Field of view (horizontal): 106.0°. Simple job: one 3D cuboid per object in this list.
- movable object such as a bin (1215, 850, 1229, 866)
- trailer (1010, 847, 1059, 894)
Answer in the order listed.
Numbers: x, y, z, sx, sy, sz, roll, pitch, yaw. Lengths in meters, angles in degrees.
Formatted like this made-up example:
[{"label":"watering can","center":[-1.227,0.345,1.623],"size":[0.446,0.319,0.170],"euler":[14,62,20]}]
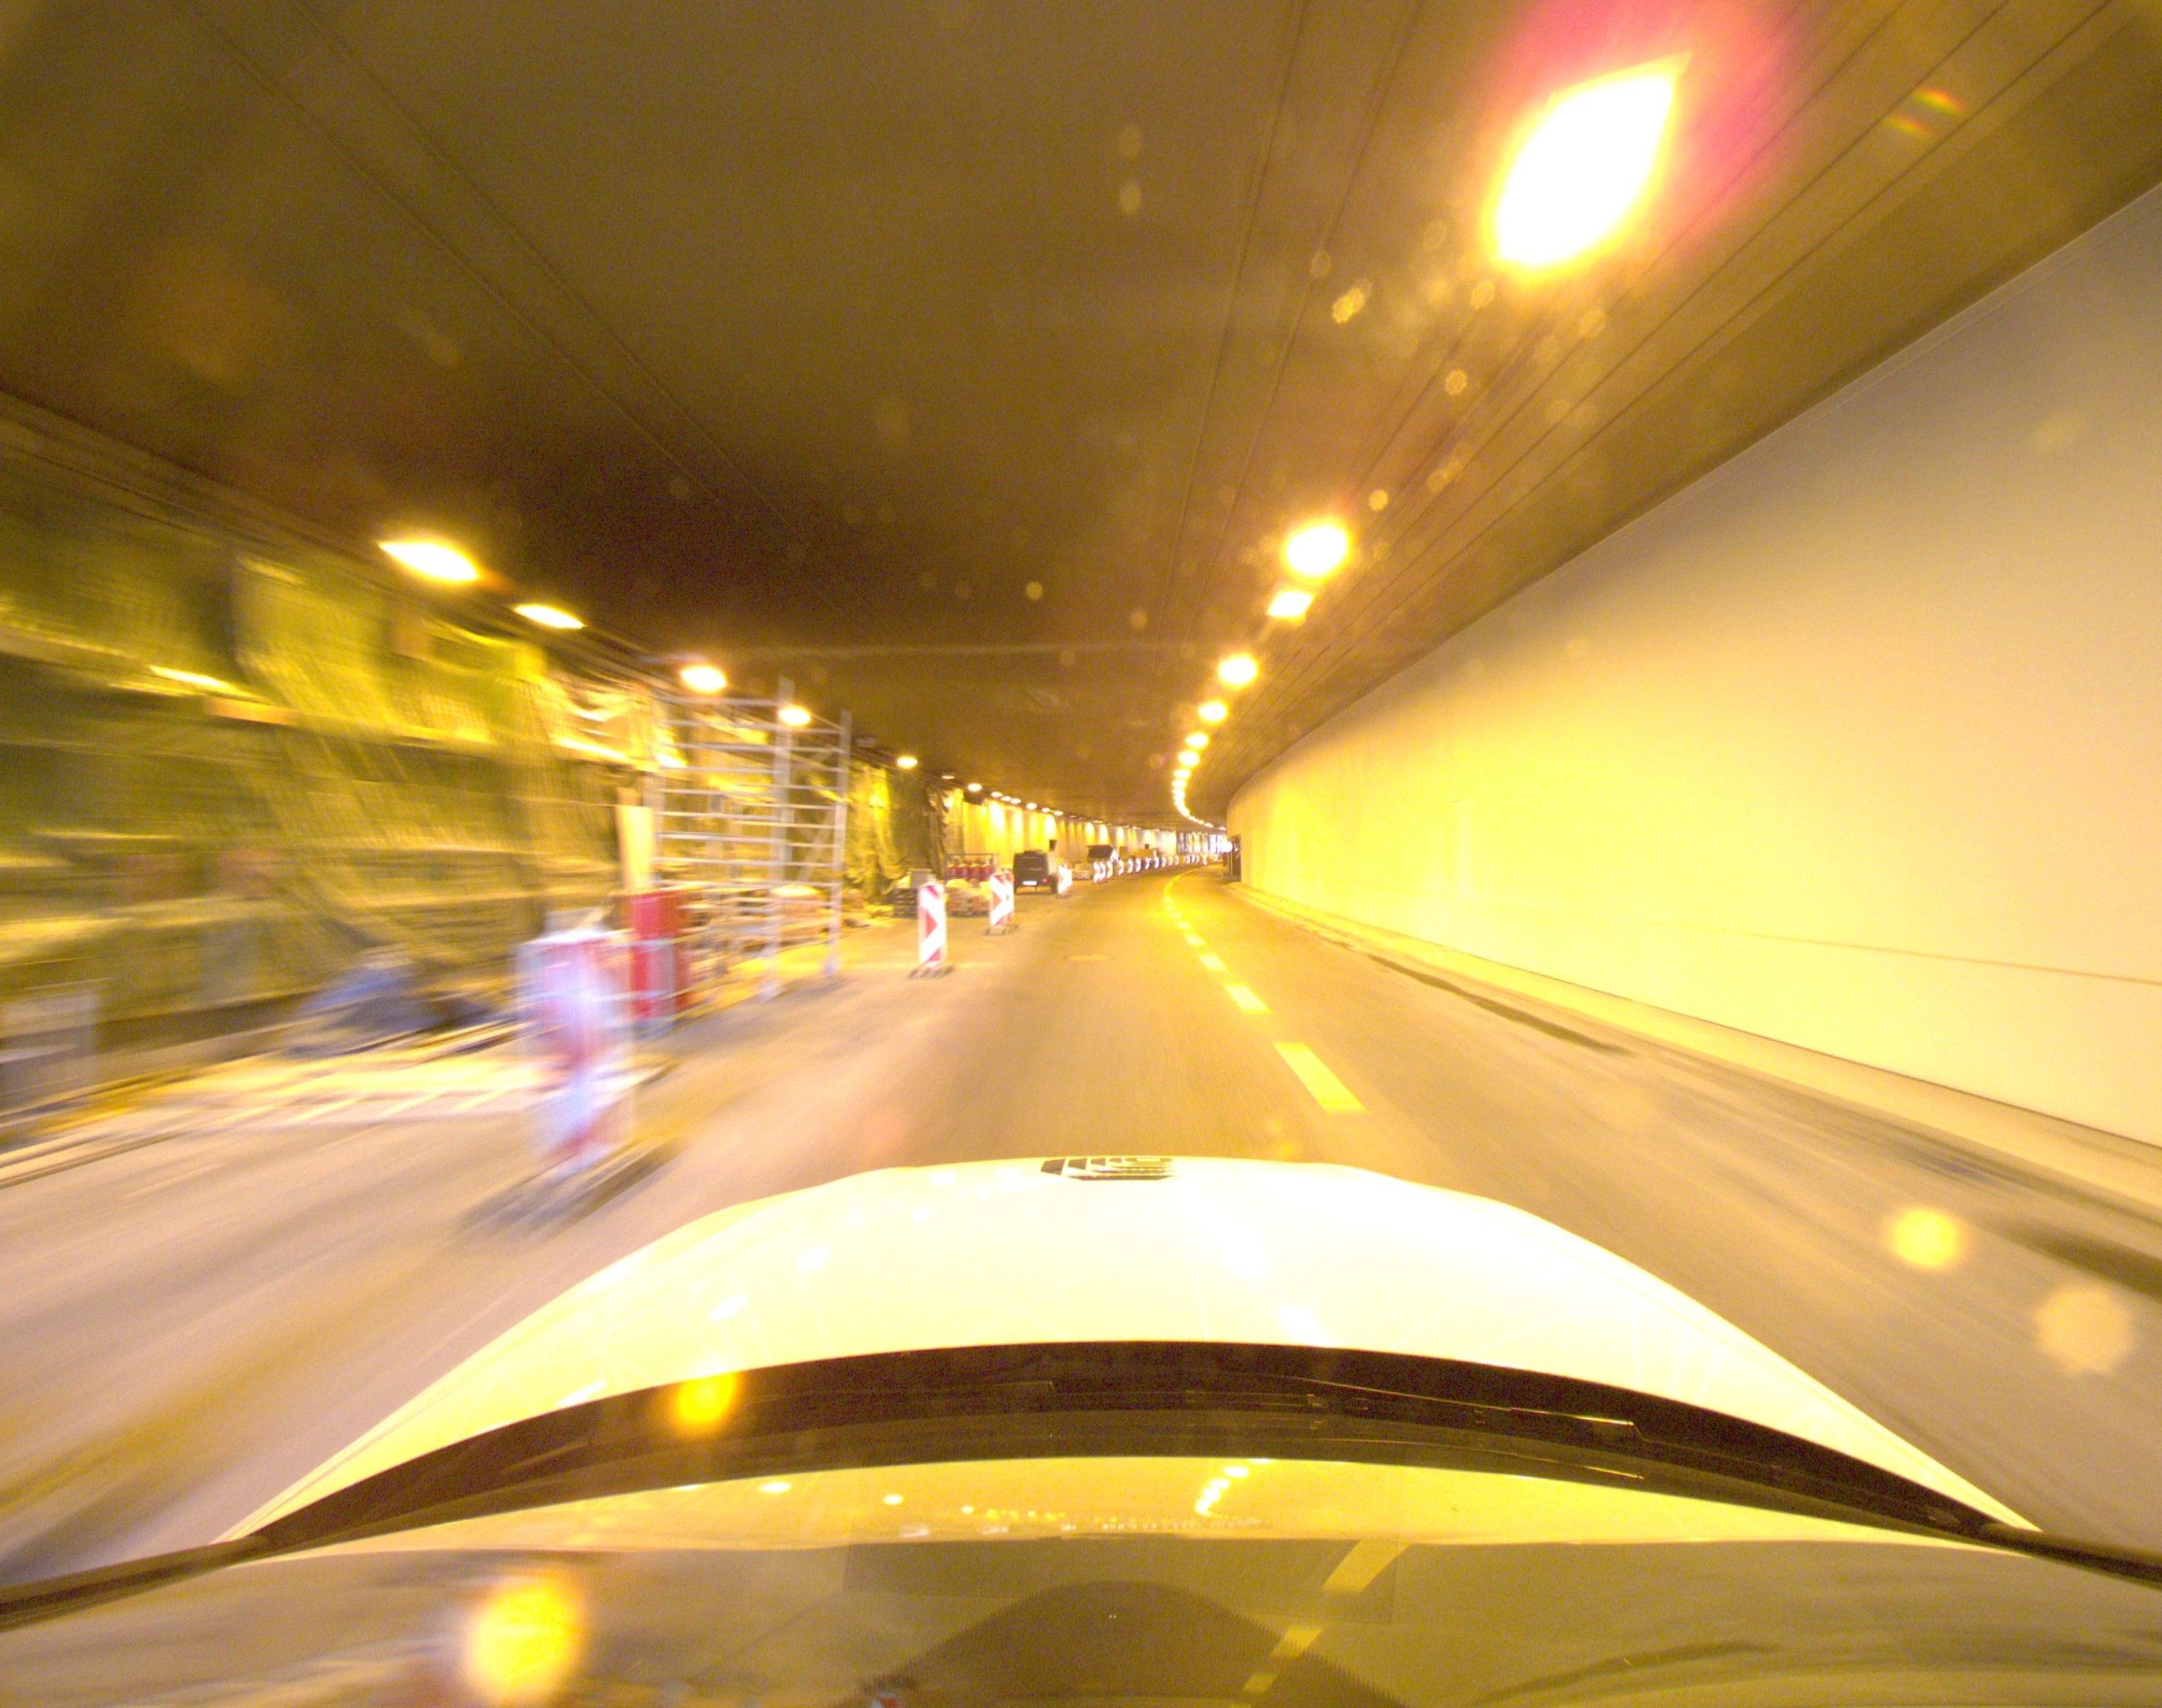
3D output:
[{"label":"movable object such as a bin","center":[13.294,0.370,76.730],"size":[1.187,1.460,1.611],"euler":[-4,-1,13]},{"label":"trailer","center":[-1.852,0.642,32.990],"size":[1.573,1.798,2.943],"euler":[-1,0,5]}]
